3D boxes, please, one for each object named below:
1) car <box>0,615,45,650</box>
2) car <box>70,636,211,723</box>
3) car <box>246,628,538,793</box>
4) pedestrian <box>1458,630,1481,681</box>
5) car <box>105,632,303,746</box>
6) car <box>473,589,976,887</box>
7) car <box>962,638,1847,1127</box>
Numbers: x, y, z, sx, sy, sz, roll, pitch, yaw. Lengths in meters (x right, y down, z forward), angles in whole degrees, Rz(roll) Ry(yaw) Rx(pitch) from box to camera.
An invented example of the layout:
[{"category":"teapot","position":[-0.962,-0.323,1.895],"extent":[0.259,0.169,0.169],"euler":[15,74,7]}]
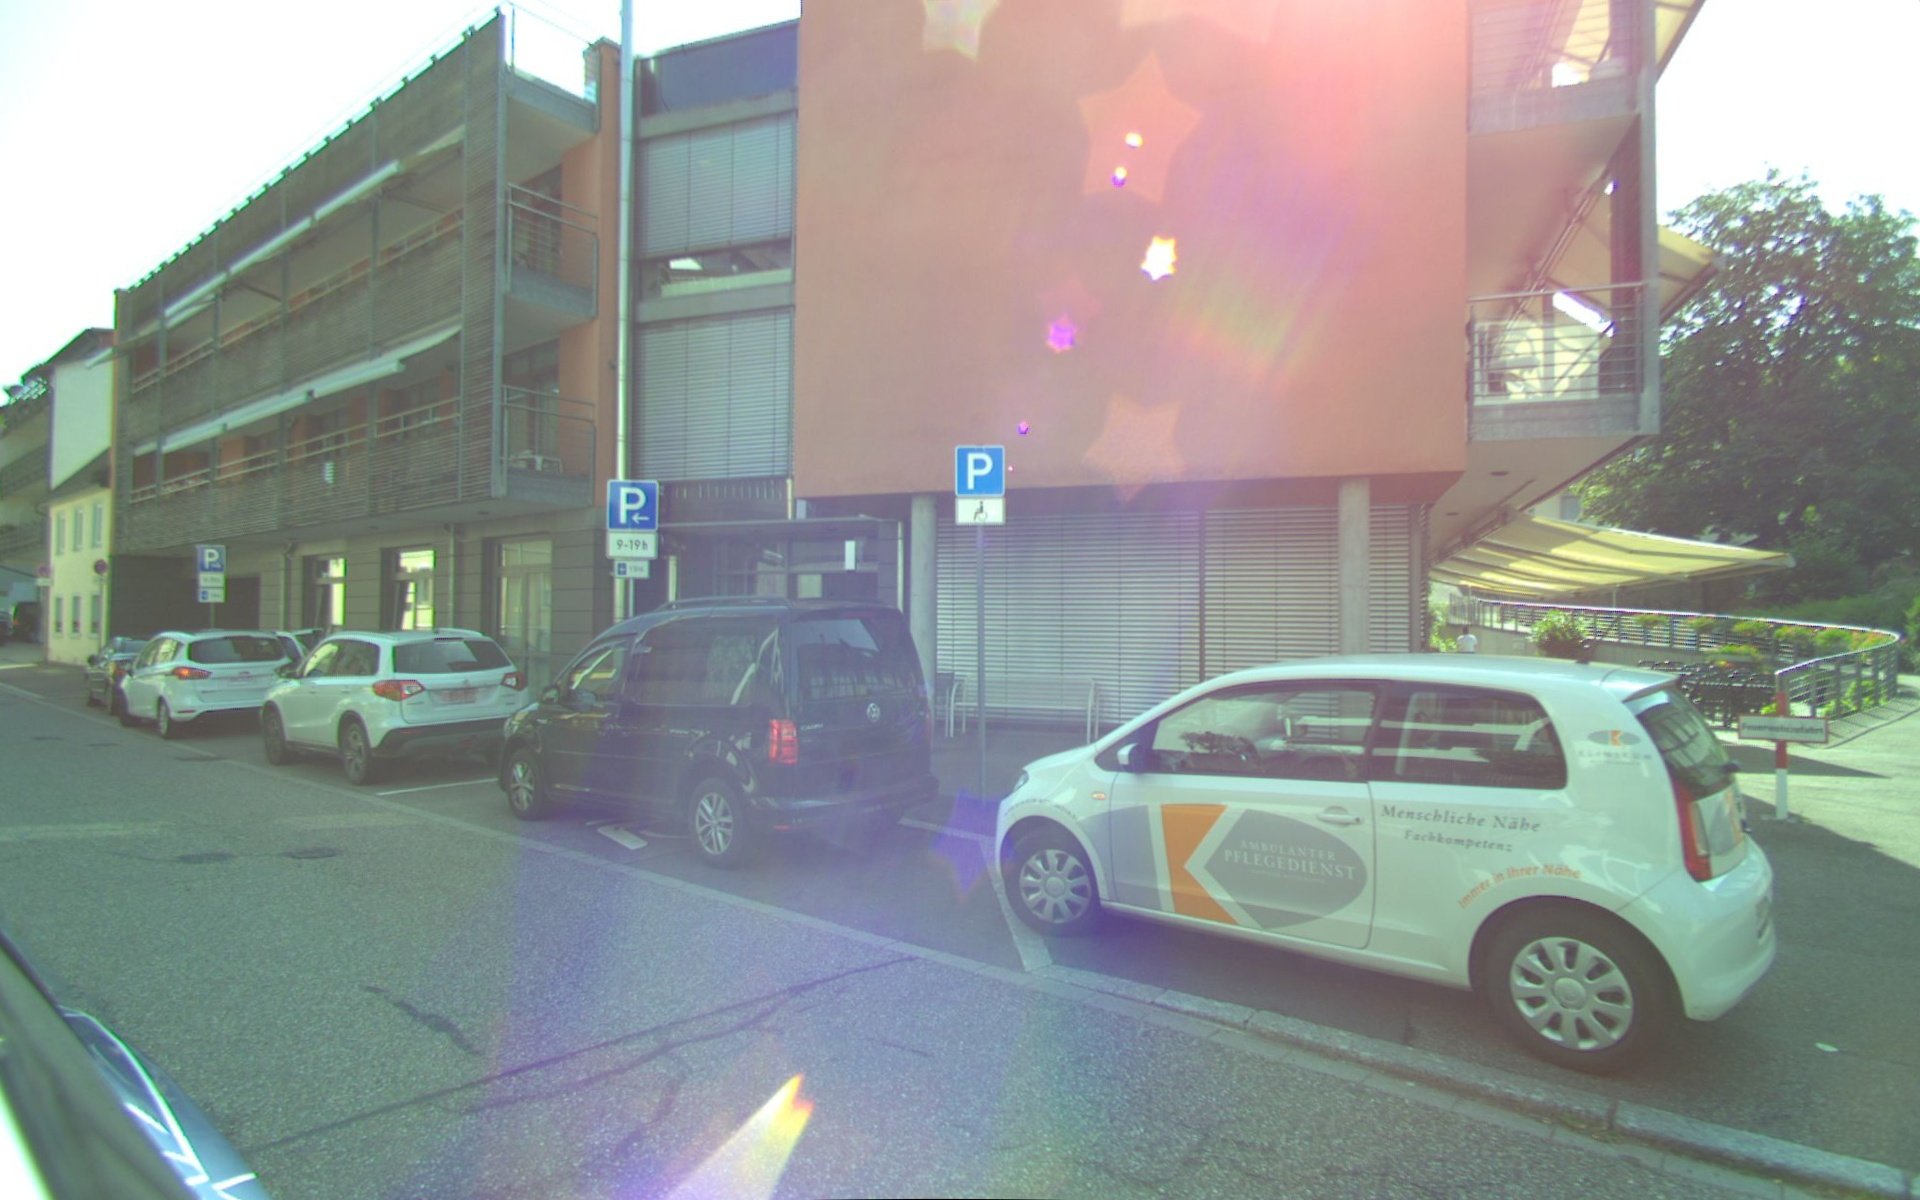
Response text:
[{"category":"car","position":[-48.265,1.606,50.146],"extent":[1.829,1.697,3.956],"euler":[-3,-3,32]},{"category":"car","position":[-15.753,1.452,19.407],"extent":[3.592,1.427,1.533],"euler":[-1,0,41]},{"category":"car","position":[-6.701,1.141,11.793],"extent":[3.945,1.602,1.658],"euler":[-2,-2,39]},{"category":"pedestrian","position":[15.850,1.727,31.488],"extent":[0.538,1.559,0.578],"euler":[0,-2,19]},{"category":"car","position":[-11.986,1.313,15.974],"extent":[3.761,1.567,1.657],"euler":[-2,-2,39]},{"category":"car","position":[-2.065,0.902,8.190],"extent":[4.264,1.810,1.703],"euler":[-1,-2,39]},{"category":"car","position":[1.898,0.945,4.916],"extent":[3.567,1.443,1.649],"euler":[-3,-2,42]}]
